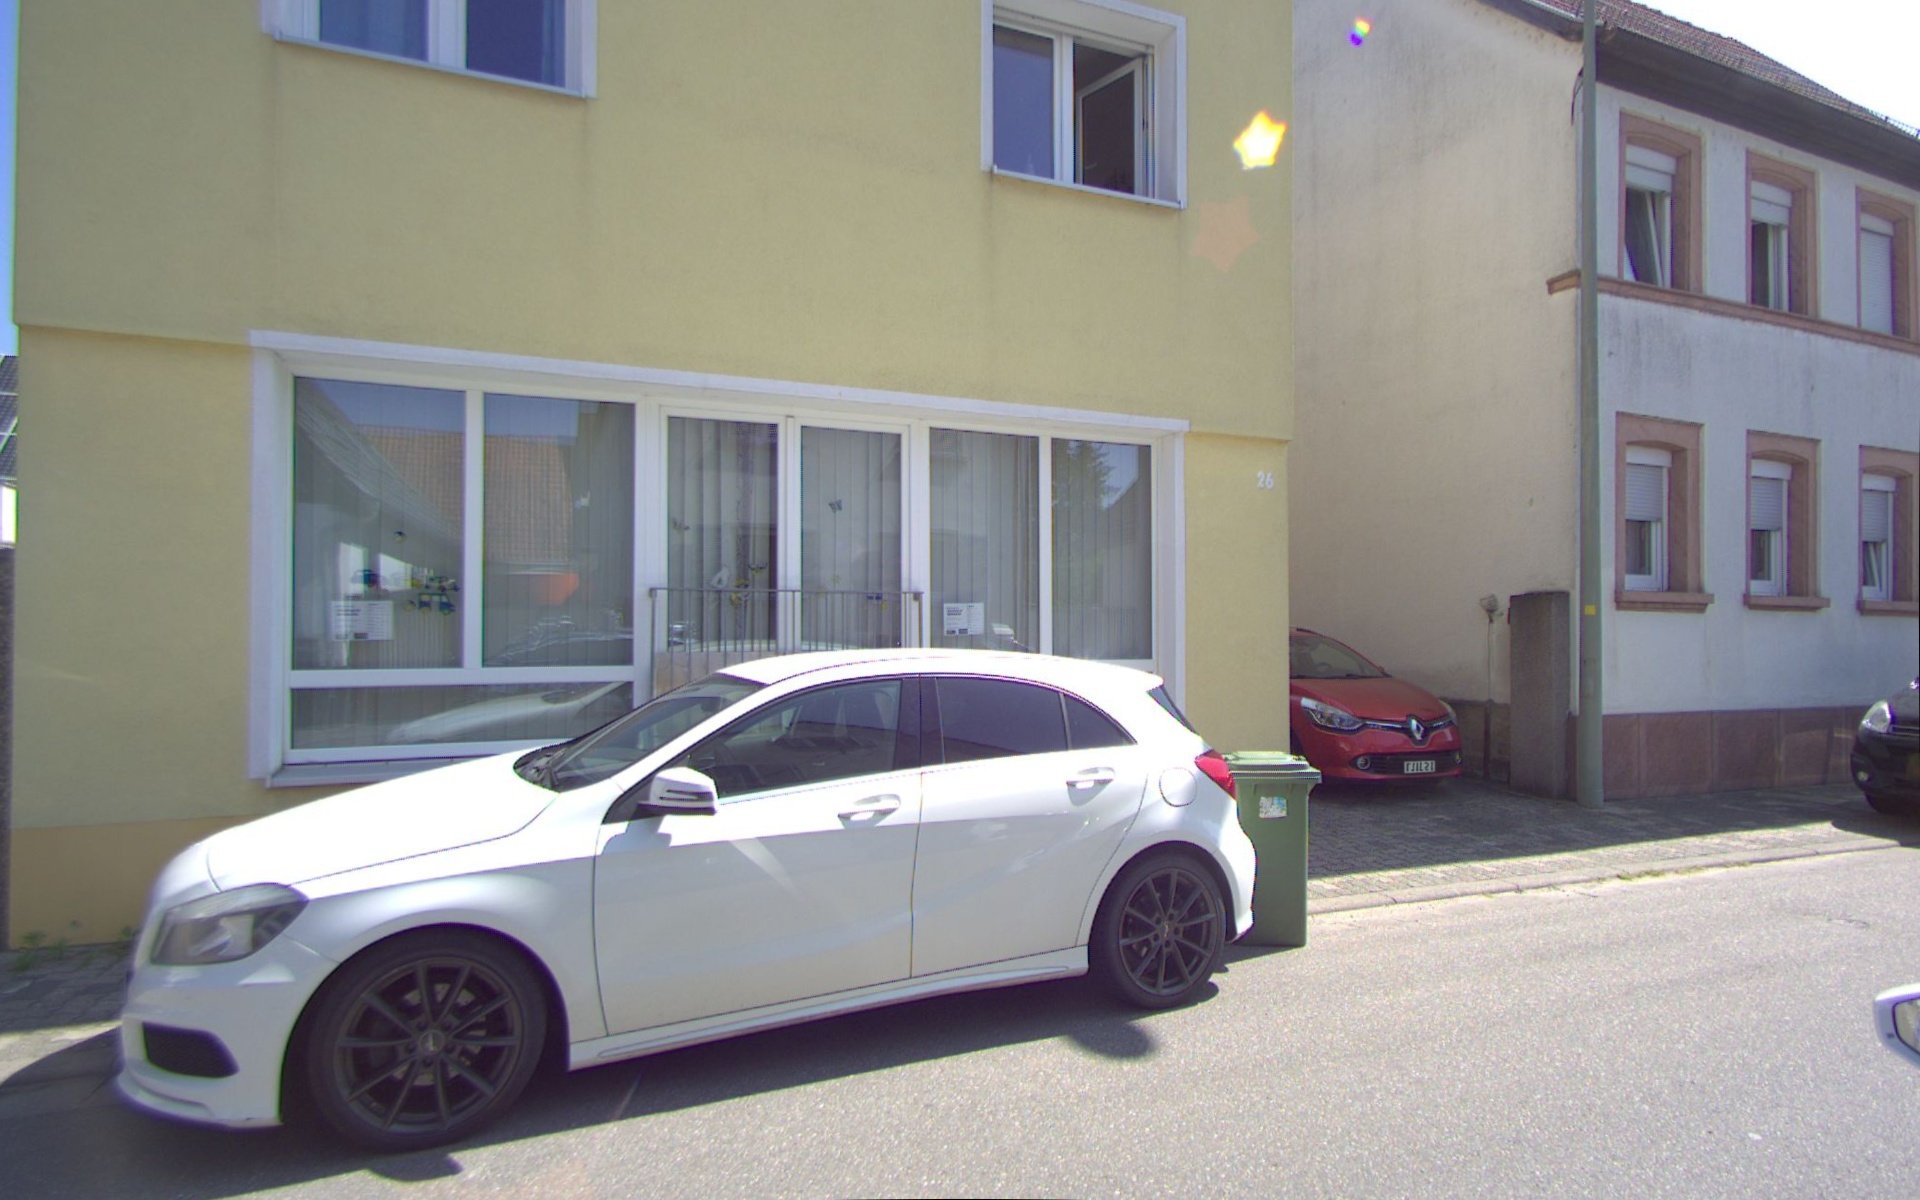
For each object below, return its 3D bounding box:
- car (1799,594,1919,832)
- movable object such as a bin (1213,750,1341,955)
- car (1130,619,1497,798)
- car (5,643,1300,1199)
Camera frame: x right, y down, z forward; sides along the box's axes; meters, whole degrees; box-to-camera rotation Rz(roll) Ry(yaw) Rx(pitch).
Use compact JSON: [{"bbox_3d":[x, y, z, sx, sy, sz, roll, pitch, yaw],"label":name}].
[{"bbox_3d":[9.518,0.910,8.533,4.289,1.861,1.832,1,-2,-21],"label":"car"},{"bbox_3d":[1.564,1.229,4.992,0.486,0.916,0.426,0,-1,-4],"label":"movable object such as a bin"},{"bbox_3d":[3.374,0.953,10.366,1.648,1.477,3.744,1,-1,-18],"label":"car"},{"bbox_3d":[-0.829,0.930,4.233,4.213,1.483,1.829,1,-3,-25],"label":"car"}]
